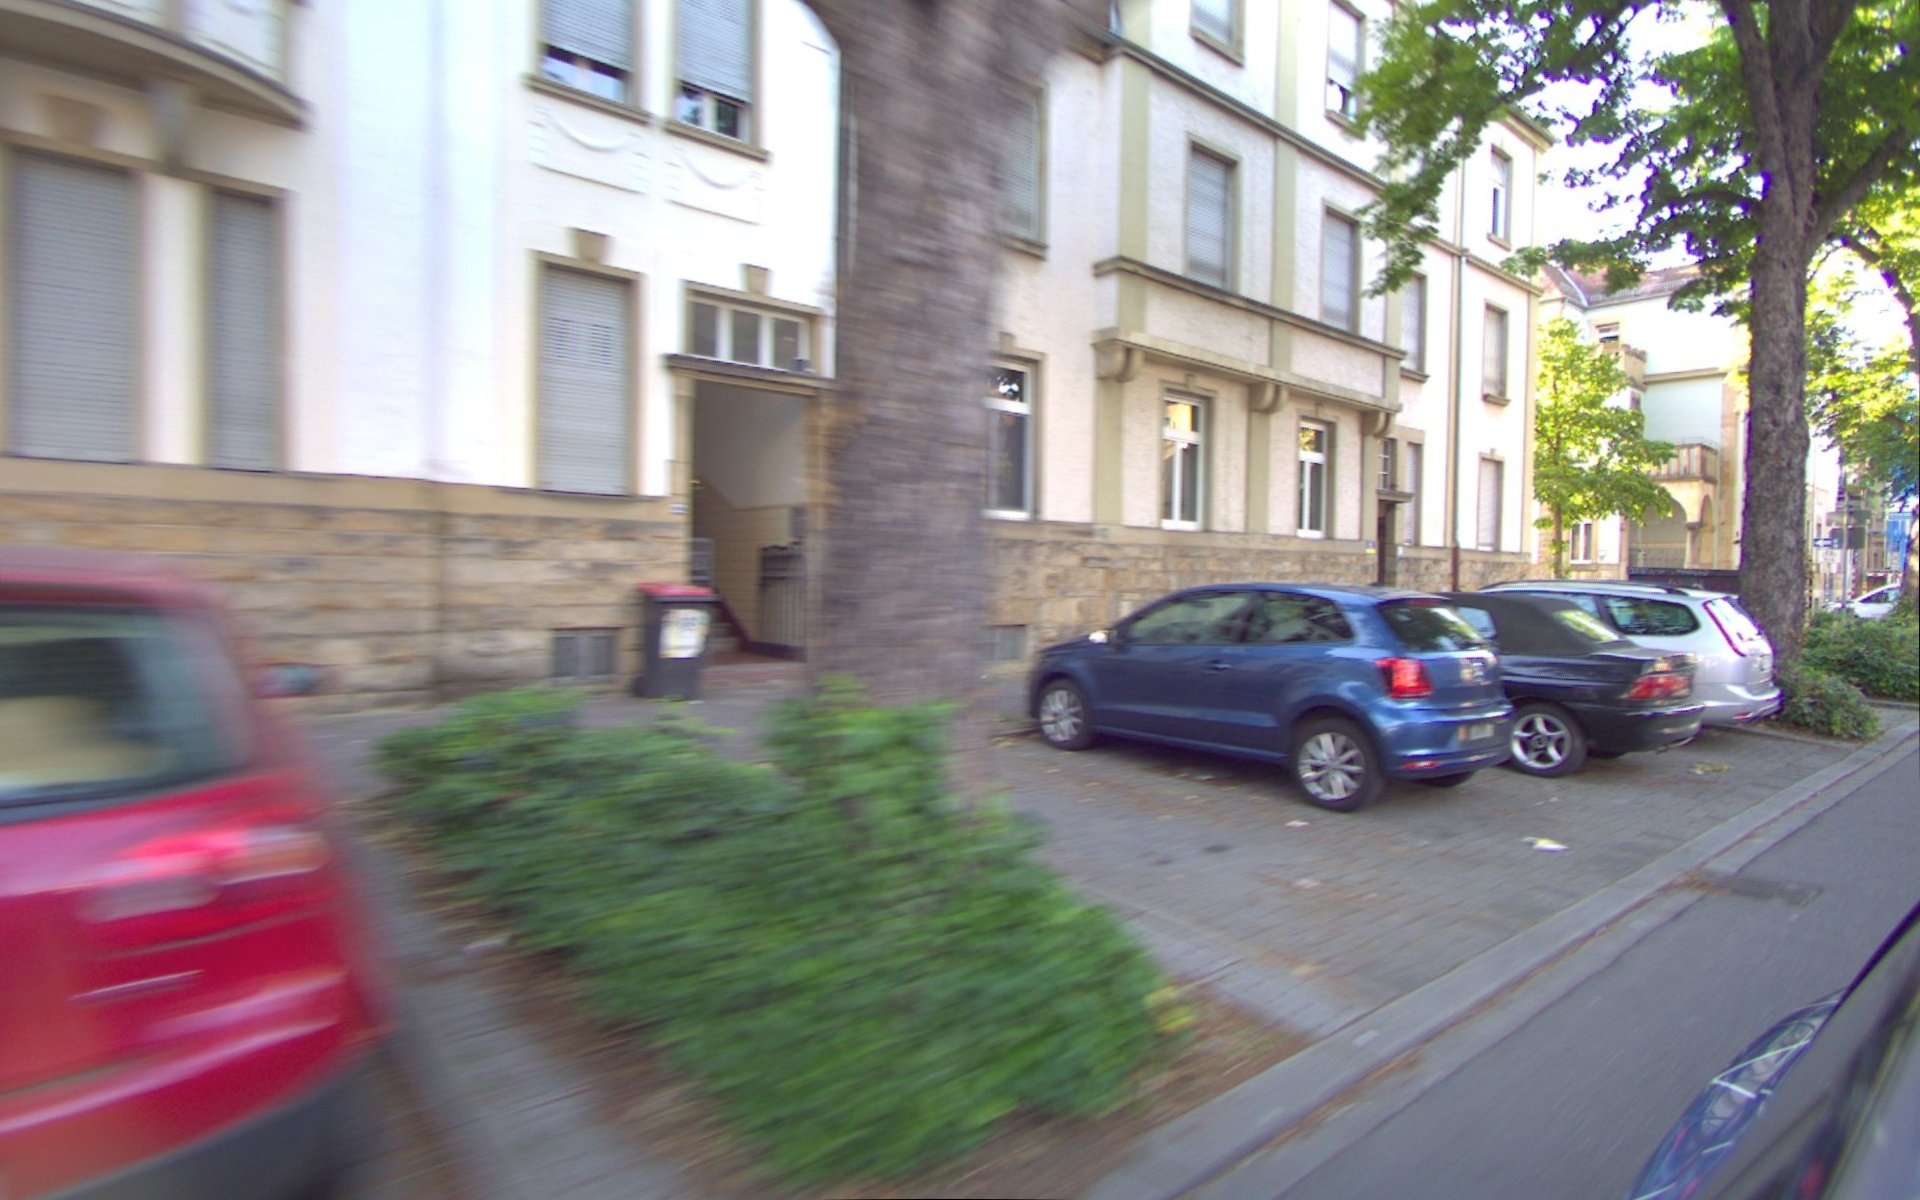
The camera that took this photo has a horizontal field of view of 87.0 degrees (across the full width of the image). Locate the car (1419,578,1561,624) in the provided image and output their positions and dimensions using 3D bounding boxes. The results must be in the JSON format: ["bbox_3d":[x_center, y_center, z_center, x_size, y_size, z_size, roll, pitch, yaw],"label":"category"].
[{"bbox_3d":[18.791,0.011,36.022,1.626,1.494,4.165,2,0,-40],"label":"car"}]

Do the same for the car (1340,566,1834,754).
[{"bbox_3d":[6.388,0.463,10.730,1.682,1.596,4.155,-1,1,-40],"label":"car"}]

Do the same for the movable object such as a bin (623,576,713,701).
[{"bbox_3d":[-2.714,0.334,9.384,0.532,1.062,0.702,0,4,-40],"label":"movable object such as a bin"}]

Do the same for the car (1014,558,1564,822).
[{"bbox_3d":[2.241,0.469,7.738,1.532,1.501,3.802,-1,1,-38],"label":"car"}]

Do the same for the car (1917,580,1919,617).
[{"bbox_3d":[42.387,0.015,41.644,1.656,1.553,4.157,0,3,-38],"label":"car"}]

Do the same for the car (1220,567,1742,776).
[{"bbox_3d":[4.461,0.452,9.108,1.785,1.455,3.801,-1,1,-40],"label":"car"}]

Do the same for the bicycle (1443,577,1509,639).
[{"bbox_3d":[10.660,0.148,20.869,1.924,1.227,0.585,0,1,-43],"label":"bicycle"}]

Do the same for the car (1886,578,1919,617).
[{"bbox_3d":[38.162,-0.051,38.781,1.703,1.480,3.756,0,3,-40],"label":"car"}]

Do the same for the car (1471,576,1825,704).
[{"bbox_3d":[9.443,0.436,14.098,1.720,1.455,3.797,-1,3,-44],"label":"car"}]

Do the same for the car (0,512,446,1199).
[{"bbox_3d":[-2.867,0.520,2.861,1.817,1.493,4.203,-1,3,-37],"label":"car"}]

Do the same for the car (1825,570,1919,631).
[{"bbox_3d":[30.103,0.031,31.668,1.965,1.829,4.324,0,3,-40],"label":"car"}]
